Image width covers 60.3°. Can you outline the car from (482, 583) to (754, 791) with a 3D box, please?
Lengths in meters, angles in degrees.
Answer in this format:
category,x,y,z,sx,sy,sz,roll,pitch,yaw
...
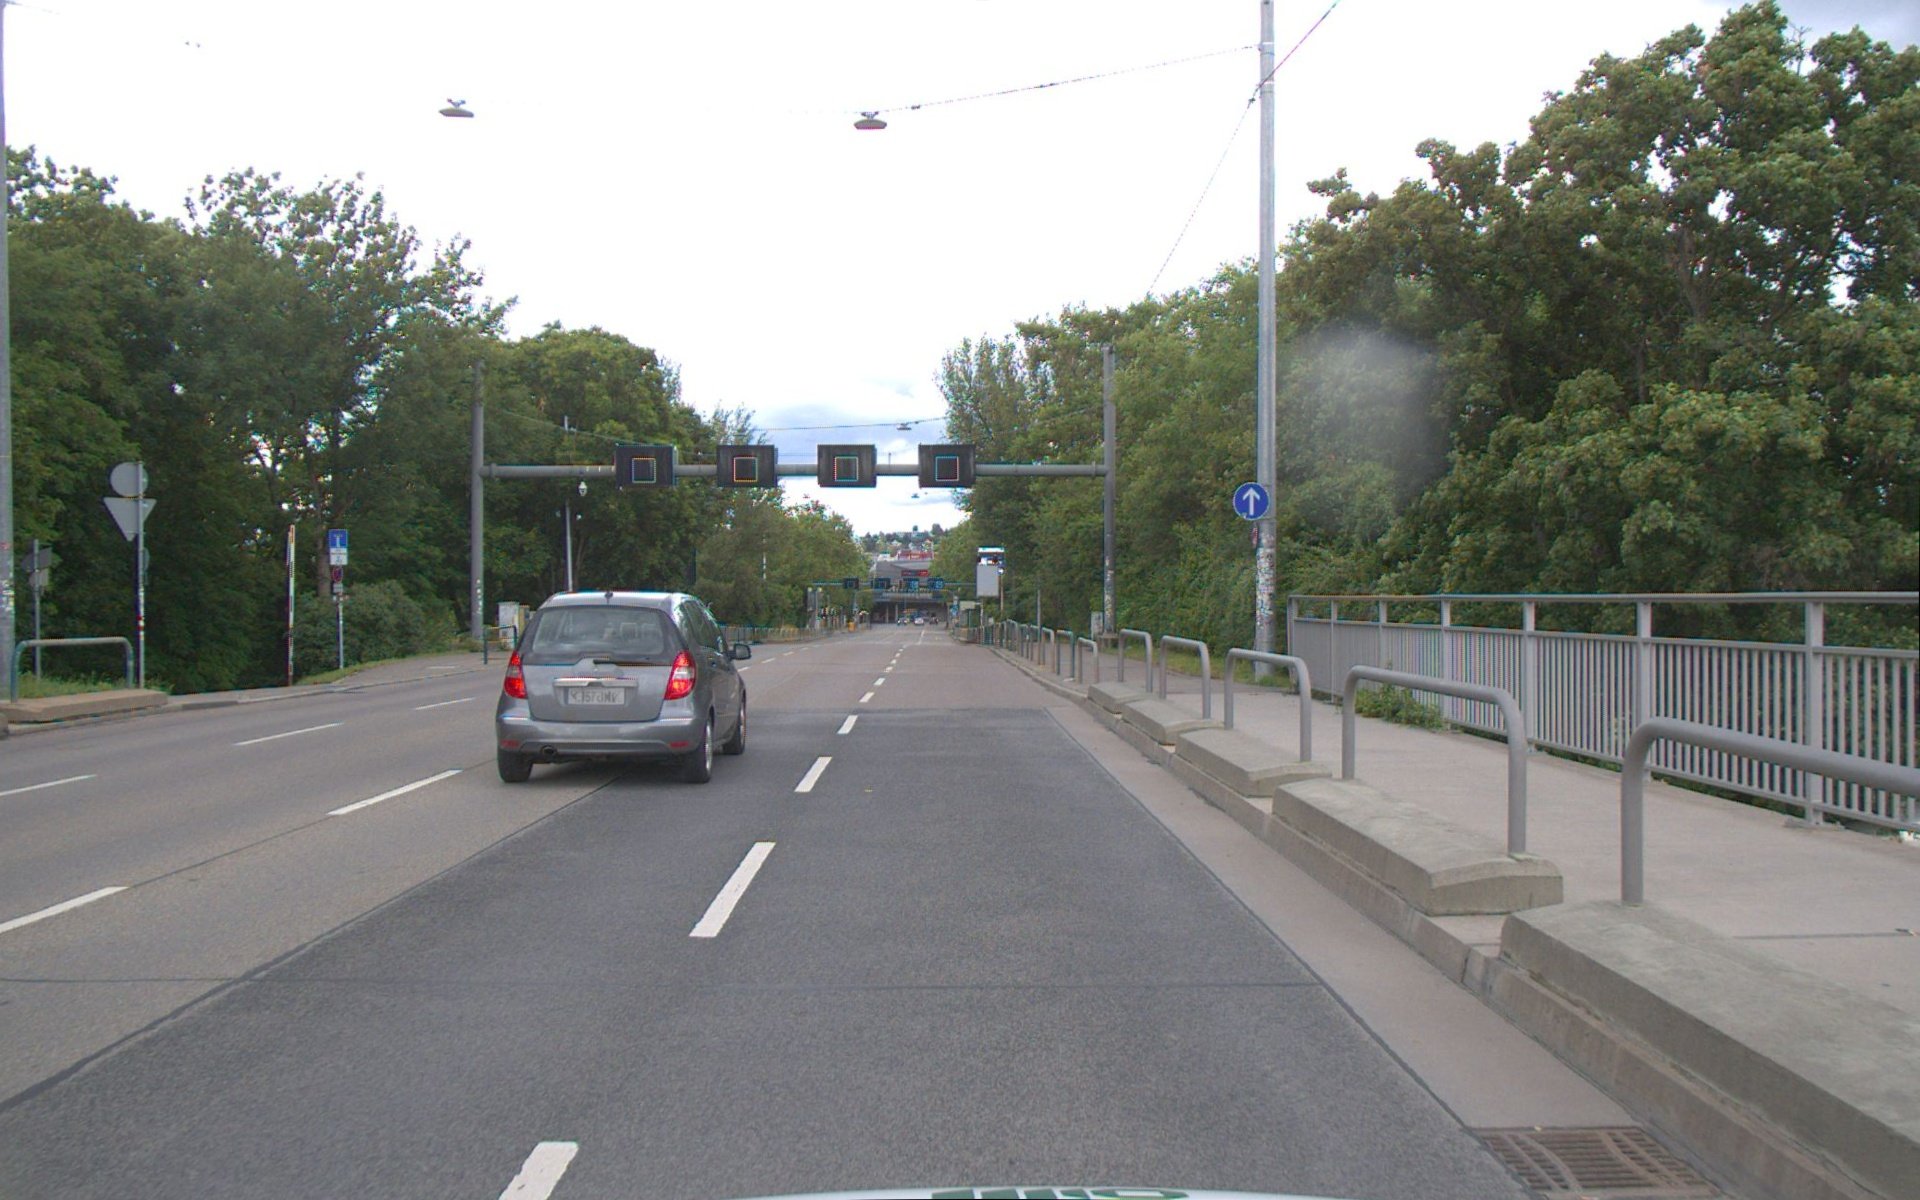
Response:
category,x,y,z,sx,sy,sz,roll,pitch,yaw
car,-2.904,0.661,14.808,1.710,1.577,3.870,0,1,-1
